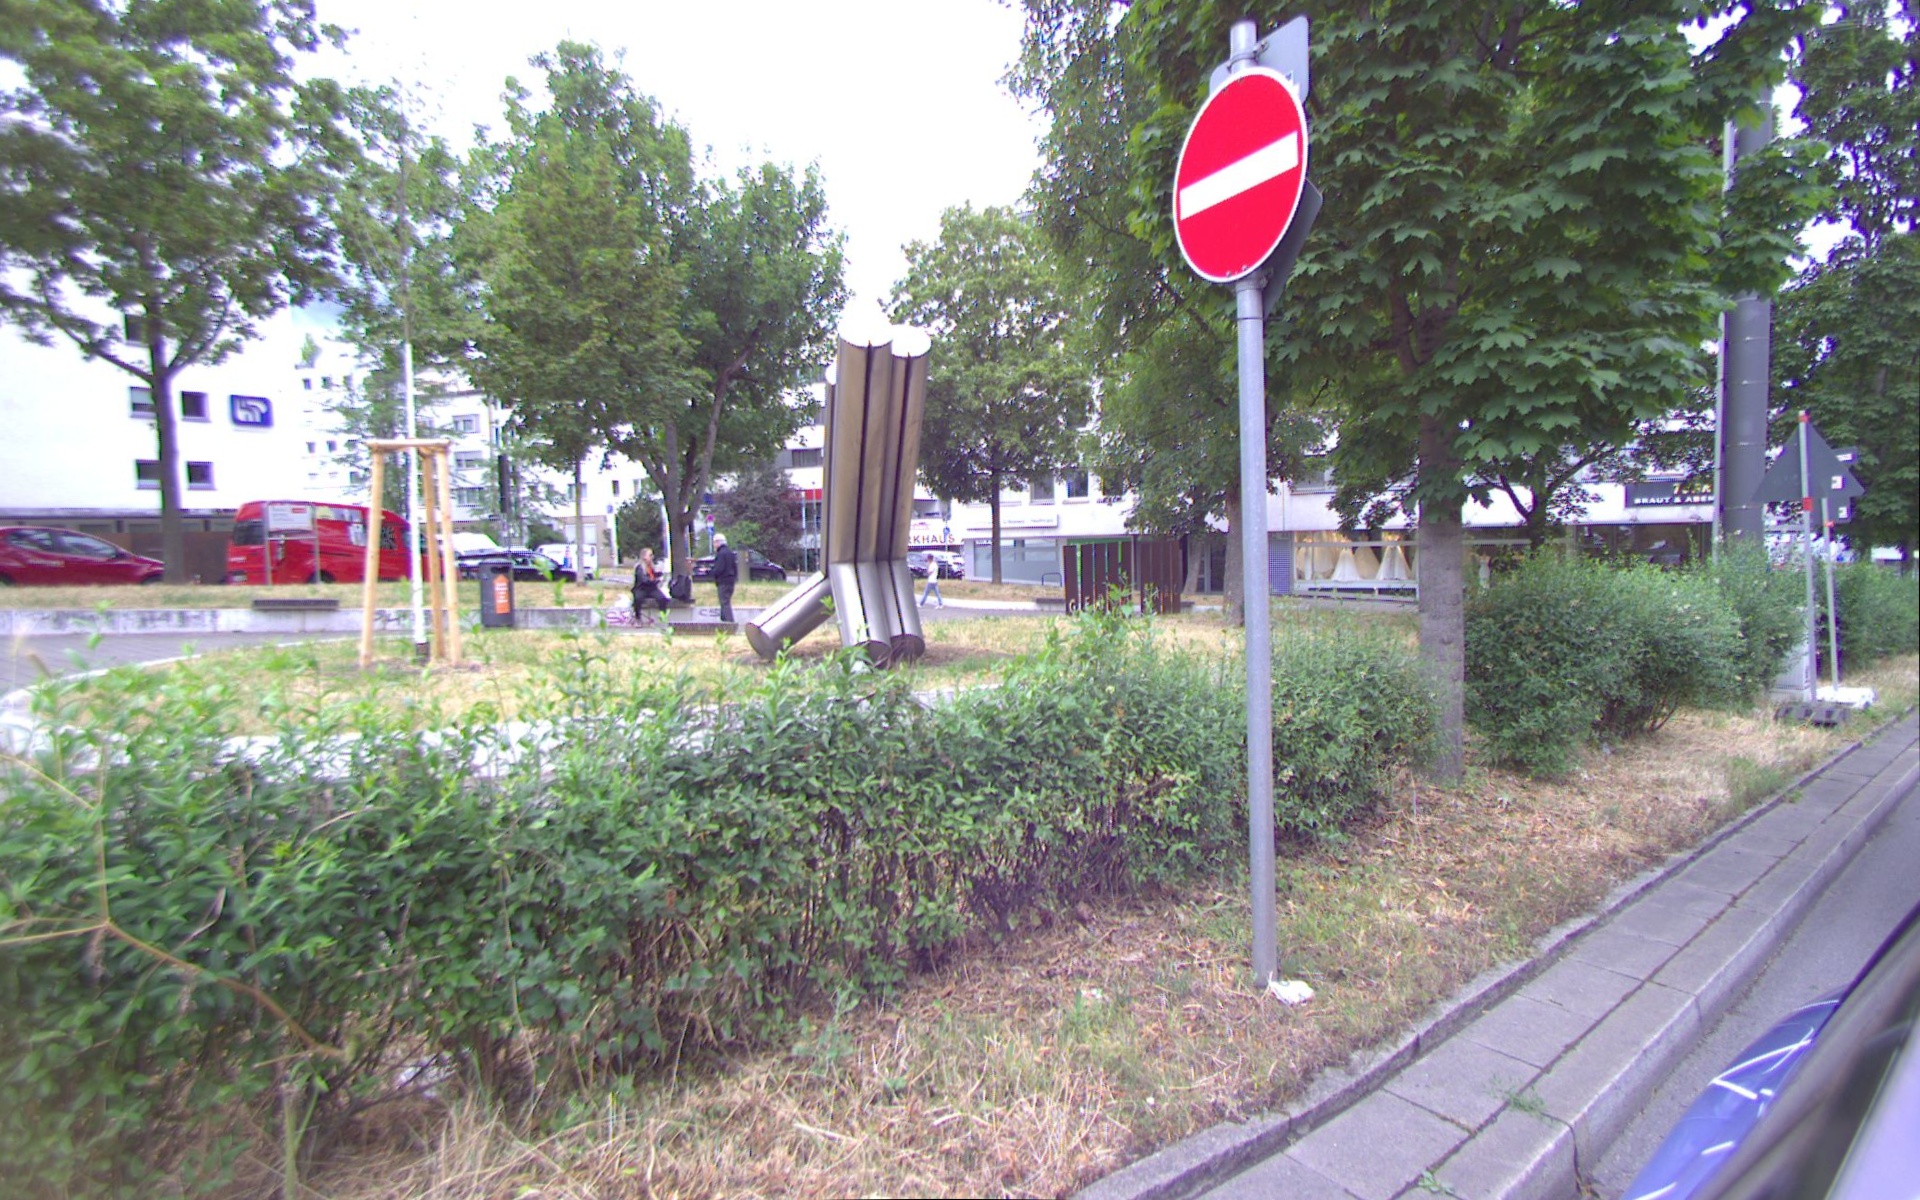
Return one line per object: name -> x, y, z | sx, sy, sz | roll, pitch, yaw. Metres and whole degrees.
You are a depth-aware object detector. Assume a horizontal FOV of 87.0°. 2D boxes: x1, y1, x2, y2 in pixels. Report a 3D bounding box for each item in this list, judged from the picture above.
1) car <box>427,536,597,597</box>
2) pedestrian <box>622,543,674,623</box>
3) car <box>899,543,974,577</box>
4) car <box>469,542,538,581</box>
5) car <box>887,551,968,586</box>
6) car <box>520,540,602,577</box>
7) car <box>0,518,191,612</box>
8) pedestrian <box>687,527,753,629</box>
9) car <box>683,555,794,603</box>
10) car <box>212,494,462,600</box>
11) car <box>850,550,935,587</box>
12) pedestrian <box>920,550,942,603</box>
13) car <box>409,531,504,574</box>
car -> -12.738, -0.964, 29.086 | 1.977, 1.584, 4.384 | 2, 2, 22
pedestrian -> -5.226, -0.287, 16.927 | 0.672, 1.308, 0.657 | 0, 2, -32
car -> -1.326, -2.158, 55.908 | 3.976, 1.708, 1.667 | -1, 0, 37
car -> -27.398, -2.300, 60.771 | 3.968, 2.272, 1.985 | 2, 2, 34
car -> -1.744, -1.678, 53.403 | 3.982, 1.738, 1.972 | 3, 3, 39
car -> -22.492, -2.343, 56.967 | 4.759, 1.969, 2.198 | 3, 2, 38
car -> -16.660, -0.646, 18.593 | 1.728, 1.584, 3.691 | 2, 2, 21
pedestrian -> -3.953, -0.370, 16.683 | 0.719, 1.622, 0.786 | 2, 2, 25
car -> -8.689, -0.839, 40.106 | 1.977, 1.762, 4.750 | 2, 2, 22
car -> -14.616, -1.218, 24.134 | 2.101, 2.240, 4.862 | 2, 2, 20
car -> -3.428, -1.608, 51.023 | 3.982, 1.738, 1.972 | 3, 3, 39
pedestrian -> -0.853, -0.694, 29.807 | 0.517, 1.552, 0.675 | 1, 2, -11
car -> -23.781, -2.255, 47.765 | 4.581, 1.900, 2.078 | 2, 2, 34
